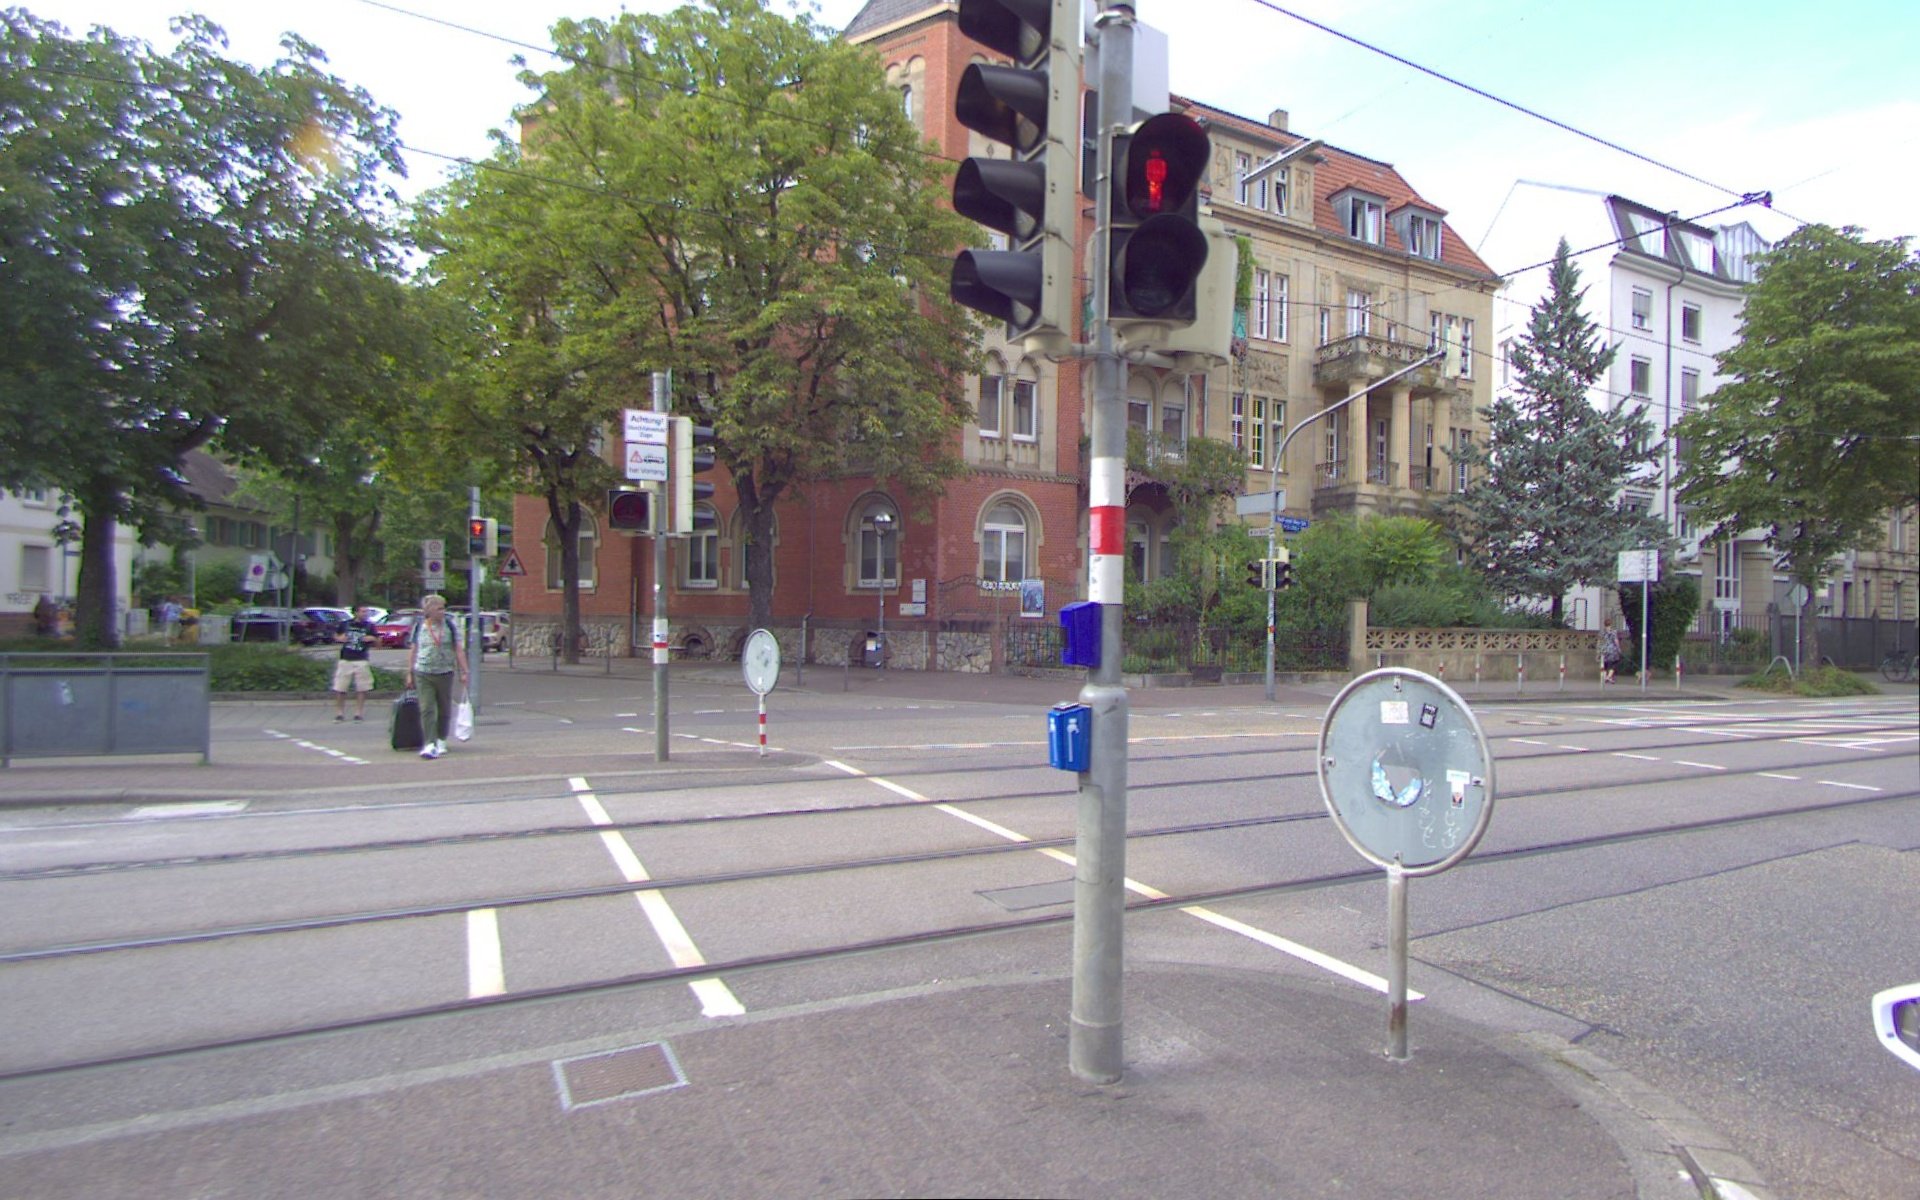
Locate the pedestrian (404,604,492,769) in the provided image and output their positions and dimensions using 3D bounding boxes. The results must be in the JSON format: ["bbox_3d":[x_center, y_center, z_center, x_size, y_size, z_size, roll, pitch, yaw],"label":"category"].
[{"bbox_3d":[-5.414,0.878,10.610,0.737,1.654,0.864,1,-1,-32],"label":"pedestrian"}]

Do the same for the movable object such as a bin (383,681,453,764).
[{"bbox_3d":[-5.900,1.309,10.923,0.615,0.810,0.724,1,-1,-32],"label":"movable object such as a bin"}]

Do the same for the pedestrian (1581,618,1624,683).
[{"bbox_3d":[18.031,1.409,28.191,0.824,1.807,0.728,1,-1,-27],"label":"pedestrian"}]

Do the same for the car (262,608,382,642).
[{"bbox_3d":[-27.534,1.087,43.454,3.924,1.414,1.814,1,-1,-5],"label":"car"}]

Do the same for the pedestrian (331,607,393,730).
[{"bbox_3d":[-8.755,0.979,14.708,0.725,1.725,0.828,1,-1,-32],"label":"pedestrian"}]

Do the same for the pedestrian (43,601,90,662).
[{"bbox_3d":[-26.295,0.921,29.573,0.719,1.777,0.752,1,-1,-9],"label":"pedestrian"}]

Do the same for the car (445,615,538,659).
[{"bbox_3d":[-17.342,1.354,37.395,1.781,1.497,3.998,1,-1,-4],"label":"car"}]

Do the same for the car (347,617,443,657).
[{"bbox_3d":[-22.617,1.460,40.375,1.781,1.497,3.998,1,-1,-4],"label":"car"}]

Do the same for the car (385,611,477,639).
[{"bbox_3d":[-28.327,1.350,53.921,3.924,1.414,1.814,1,-1,-5],"label":"car"}]

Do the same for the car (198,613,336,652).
[{"bbox_3d":[-26.514,1.233,38.517,3.924,1.414,1.814,1,-1,-5],"label":"car"}]

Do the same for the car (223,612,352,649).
[{"bbox_3d":[-27.239,1.246,40.809,3.924,1.414,1.814,1,-1,-5],"label":"car"}]

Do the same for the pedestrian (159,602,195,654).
[{"bbox_3d":[-27.093,0.966,34.780,0.670,1.777,0.732,1,-1,-6],"label":"pedestrian"}]

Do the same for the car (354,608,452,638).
[{"bbox_3d":[-28.353,1.167,51.257,3.924,1.414,1.814,1,-1,-5],"label":"car"}]

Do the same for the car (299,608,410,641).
[{"bbox_3d":[-27.696,1.113,46.043,3.924,1.414,1.814,1,-1,-5],"label":"car"}]

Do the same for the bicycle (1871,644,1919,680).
[{"bbox_3d":[30.573,2.007,32.421,1.640,1.134,0.572,0,-1,24],"label":"bicycle"}]
